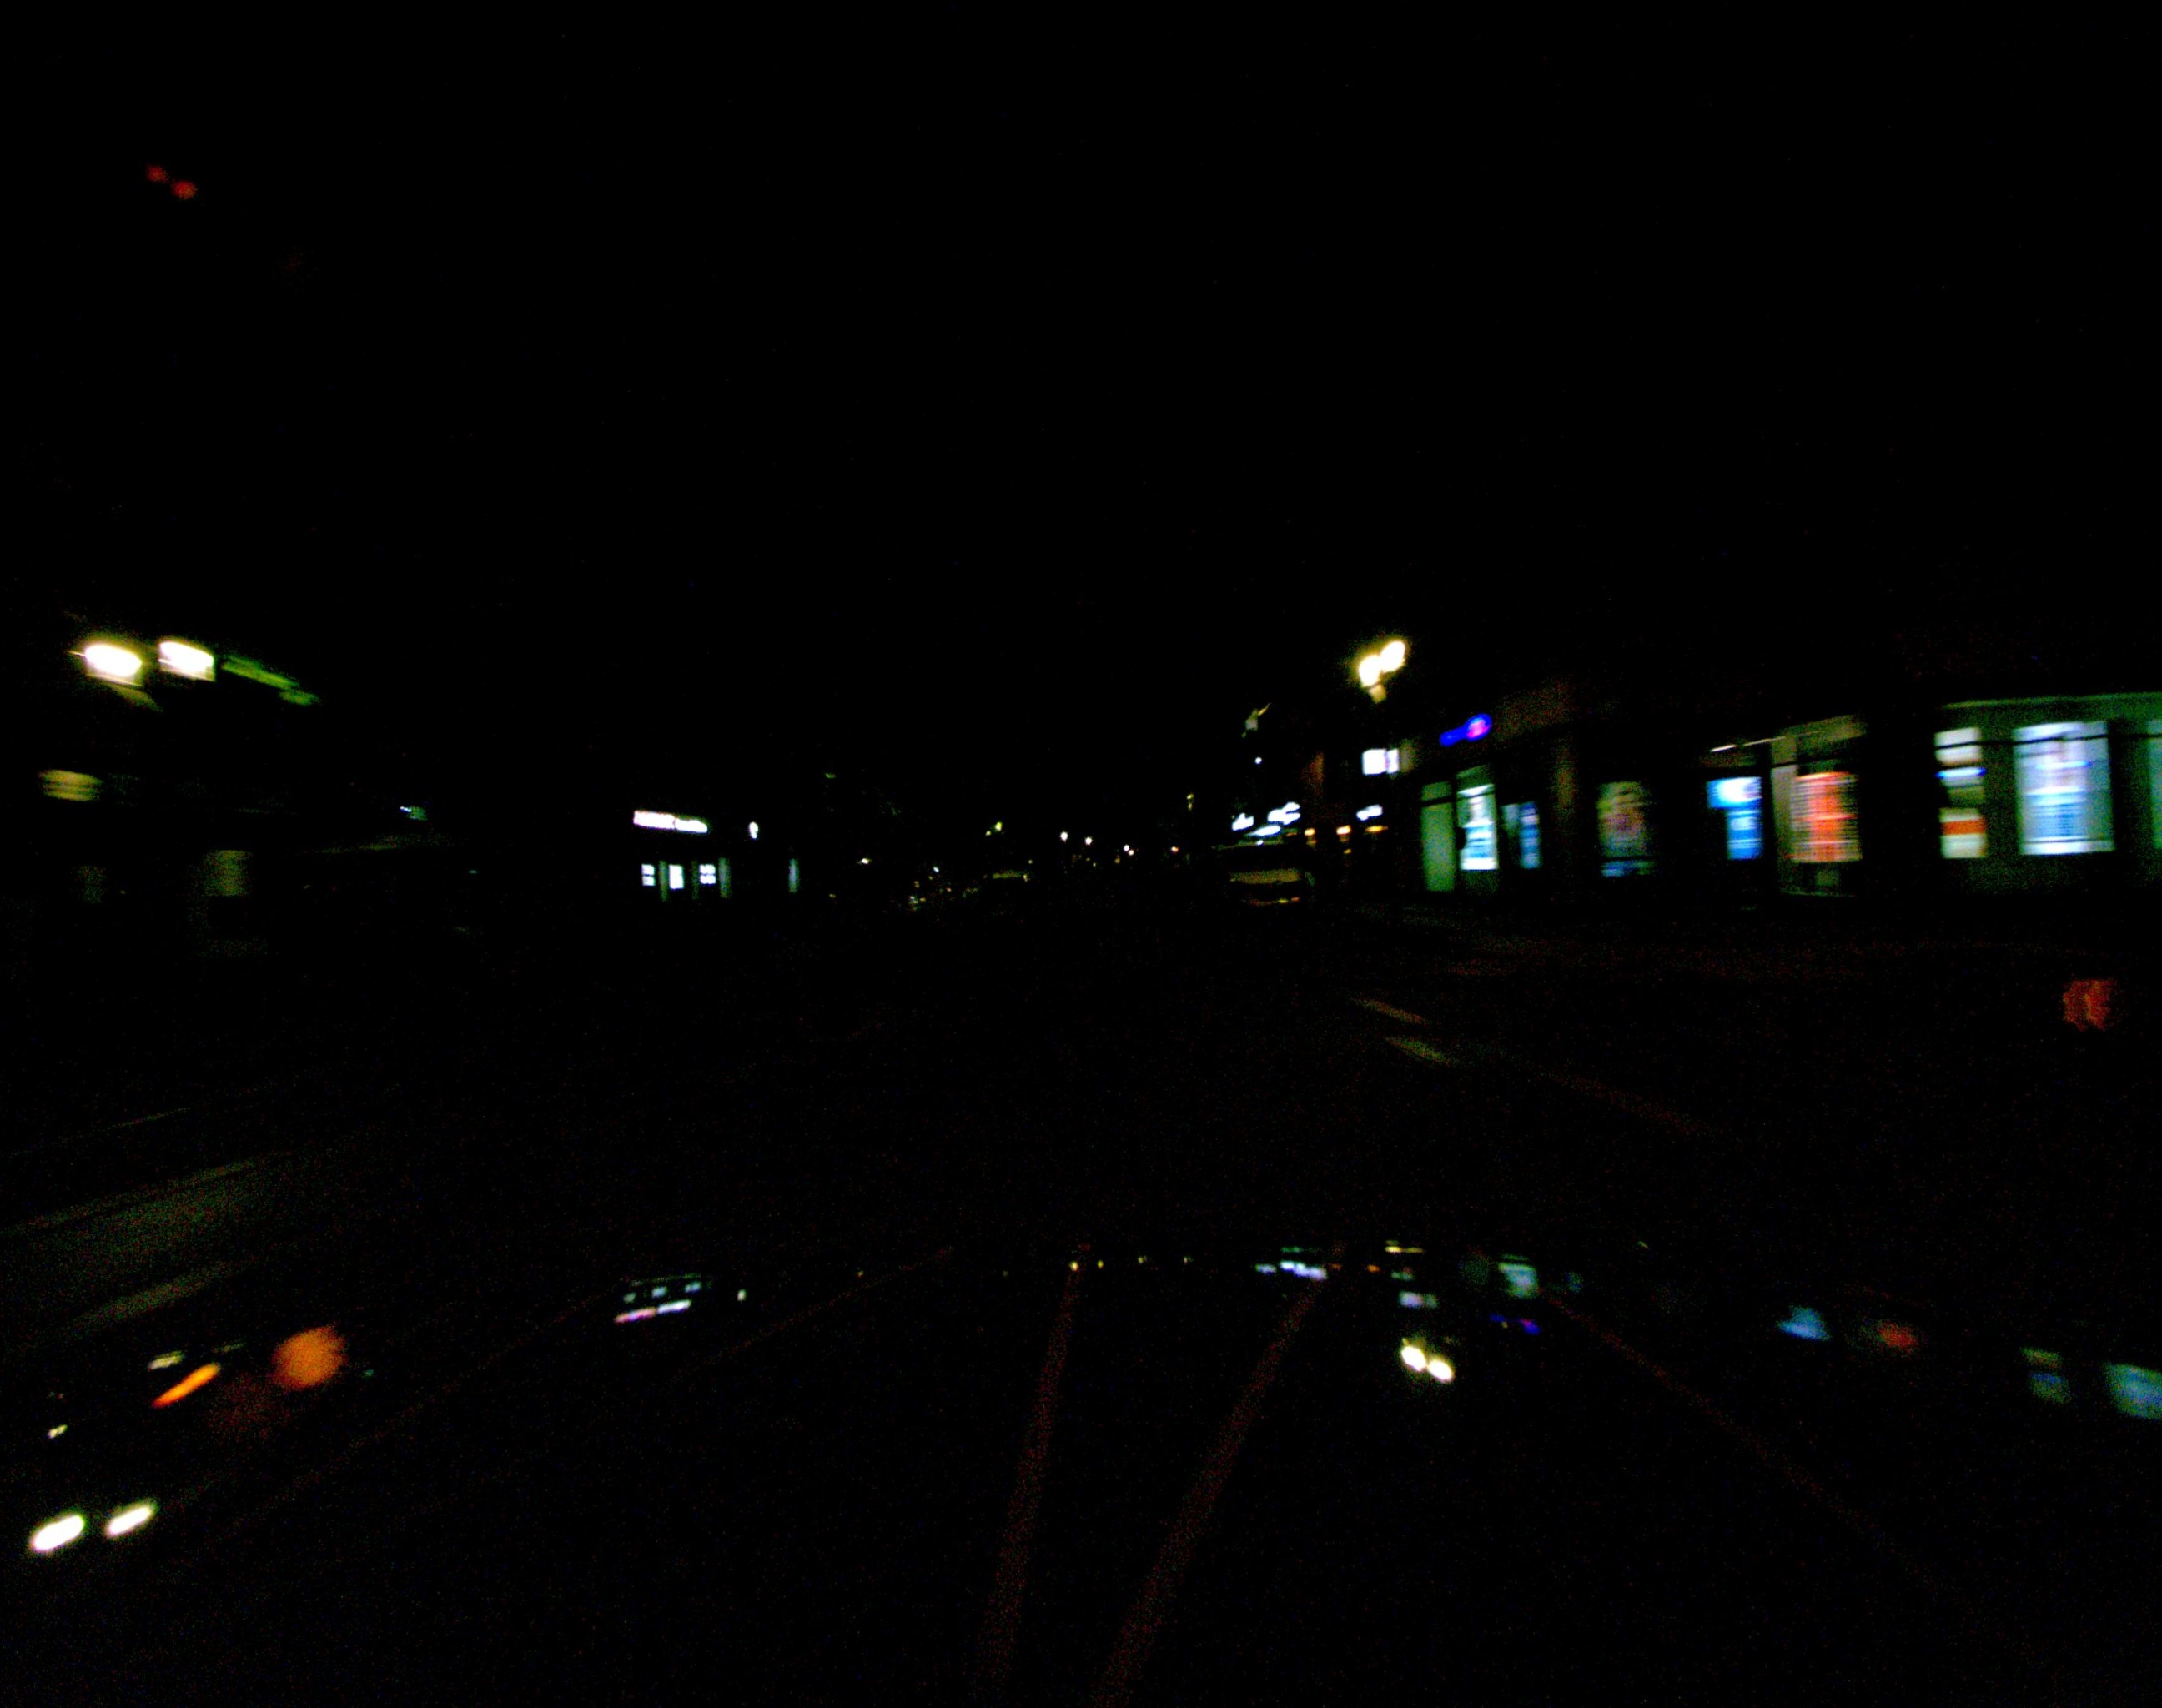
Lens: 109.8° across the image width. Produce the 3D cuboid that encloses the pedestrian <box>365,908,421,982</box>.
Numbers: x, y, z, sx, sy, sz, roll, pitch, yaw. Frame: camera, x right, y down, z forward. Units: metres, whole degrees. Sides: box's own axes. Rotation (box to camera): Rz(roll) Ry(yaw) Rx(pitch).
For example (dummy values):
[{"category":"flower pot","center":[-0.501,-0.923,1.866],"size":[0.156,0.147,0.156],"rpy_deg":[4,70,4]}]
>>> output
[{"category":"pedestrian","center":[-12.487,1.631,13.794],"size":[0.682,1.256,0.530],"rpy_deg":[-2,0,30]}]

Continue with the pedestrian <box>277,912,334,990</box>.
[{"category":"pedestrian","center":[-13.314,1.651,13.045],"size":[0.501,1.256,0.530],"rpy_deg":[-2,0,31]}]

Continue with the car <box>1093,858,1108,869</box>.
[{"category":"car","center":[2.902,1.398,111.595],"size":[1.736,1.492,4.002],"rpy_deg":[-2,0,8]}]

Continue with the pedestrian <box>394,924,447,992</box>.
[{"category":"pedestrian","center":[-11.005,1.716,12.660],"size":[0.528,1.047,0.503],"rpy_deg":[-2,0,33]}]

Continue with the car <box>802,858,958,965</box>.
[{"category":"car","center":[-3.897,1.018,15.576],"size":[1.793,1.811,4.580],"rpy_deg":[-2,0,2]}]

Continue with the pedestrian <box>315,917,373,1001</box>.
[{"category":"pedestrian","center":[-11.689,1.644,12.047],"size":[0.528,1.256,0.503],"rpy_deg":[-2,0,33]}]

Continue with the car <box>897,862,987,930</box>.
[{"category":"car","center":[-3.830,1.099,21.646],"size":[1.688,1.649,4.297],"rpy_deg":[-2,0,1]}]

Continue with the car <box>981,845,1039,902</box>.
[{"category":"car","center":[-3.108,0.839,34.442],"size":[2.140,2.313,5.151],"rpy_deg":[-2,0,-1]}]

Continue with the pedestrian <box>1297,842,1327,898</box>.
[{"category":"pedestrian","center":[7.593,0.530,24.969],"size":[0.719,1.795,0.716],"rpy_deg":[-2,0,3]}]

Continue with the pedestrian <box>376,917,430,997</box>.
[{"category":"pedestrian","center":[-10.585,1.597,11.864],"size":[0.389,1.161,0.519],"rpy_deg":[-2,0,38]}]

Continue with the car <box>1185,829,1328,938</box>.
[{"category":"car","center":[3.938,0.616,18.052],"size":[1.857,2.075,5.089],"rpy_deg":[-5,0,-3]}]

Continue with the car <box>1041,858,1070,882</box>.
[{"category":"car","center":[-1.980,1.247,60.396],"size":[1.912,1.792,4.937],"rpy_deg":[-2,0,2]}]

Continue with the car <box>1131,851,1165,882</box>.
[{"category":"car","center":[4.655,0.849,53.297],"size":[1.929,1.953,5.077],"rpy_deg":[-4,0,2]}]

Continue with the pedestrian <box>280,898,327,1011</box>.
[{"category":"pedestrian","center":[-11.315,1.438,11.058],"size":[0.480,1.578,0.372],"rpy_deg":[-2,1,38]}]

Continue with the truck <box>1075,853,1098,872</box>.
[{"category":"truck","center":[0.708,1.043,95.414],"size":[2.109,2.230,6.291],"rpy_deg":[-2,0,7]}]
